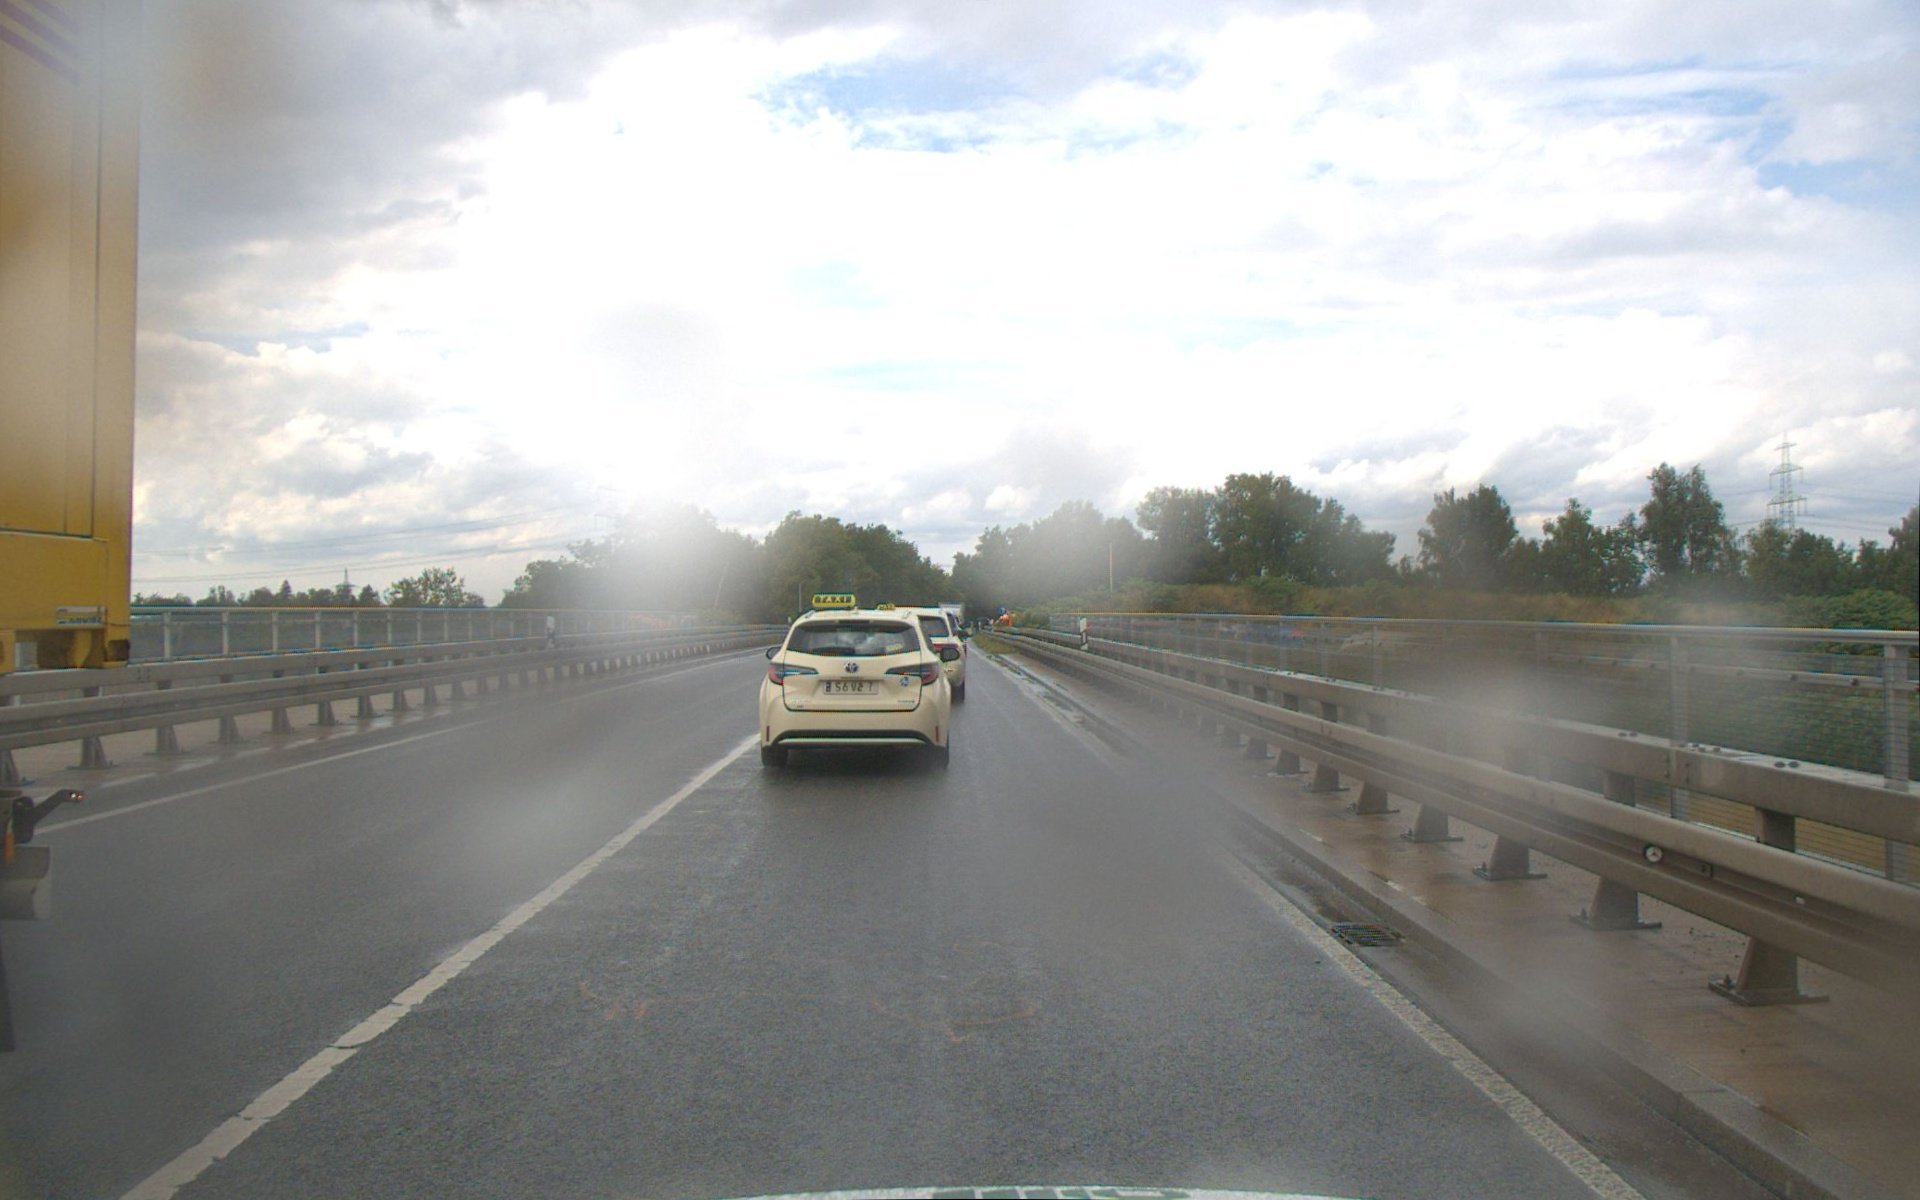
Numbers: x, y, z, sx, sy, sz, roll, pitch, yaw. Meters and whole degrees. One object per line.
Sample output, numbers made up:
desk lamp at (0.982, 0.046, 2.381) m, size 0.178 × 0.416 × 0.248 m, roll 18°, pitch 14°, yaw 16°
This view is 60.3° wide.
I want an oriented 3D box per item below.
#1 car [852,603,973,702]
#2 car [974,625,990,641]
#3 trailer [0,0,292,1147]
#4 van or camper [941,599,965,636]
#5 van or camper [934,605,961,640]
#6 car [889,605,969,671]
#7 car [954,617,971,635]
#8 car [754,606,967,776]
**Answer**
car at (-0.757, 0.800, 27.300) m, size 1.817 × 1.468 × 4.170 m, roll 1°, pitch 0°, yaw -1°
car at (3.124, 4.710, 233.267) m, size 1.953 × 2.049 × 3.998 m, roll 3°, pitch -3°, yaw -2°
trailer at (-3.801, -0.645, 1.964) m, size 2.628 × 4.146 × 8.483 m, roll 1°, pitch 0°, yaw -1°
van or camper at (-0.757, 1.799, 170.723) m, size 2.285 × 3.625 × 6.305 m, roll 1°, pitch 0°, yaw -1°
van or camper at (-1.160, 1.971, 145.449) m, size 2.285 × 2.914 × 6.305 m, roll 1°, pitch 0°, yaw -1°
car at (-0.749, 0.882, 40.294) m, size 1.817 × 1.468 × 4.170 m, roll 1°, pitch 0°, yaw -1°
car at (0.281, 3.076, 198.337) m, size 1.953 × 2.049 × 3.998 m, roll 1°, pitch 0°, yaw -2°
car at (-0.900, 0.800, 16.395) m, size 1.817 × 1.418 × 4.170 m, roll 1°, pitch 0°, yaw -1°
